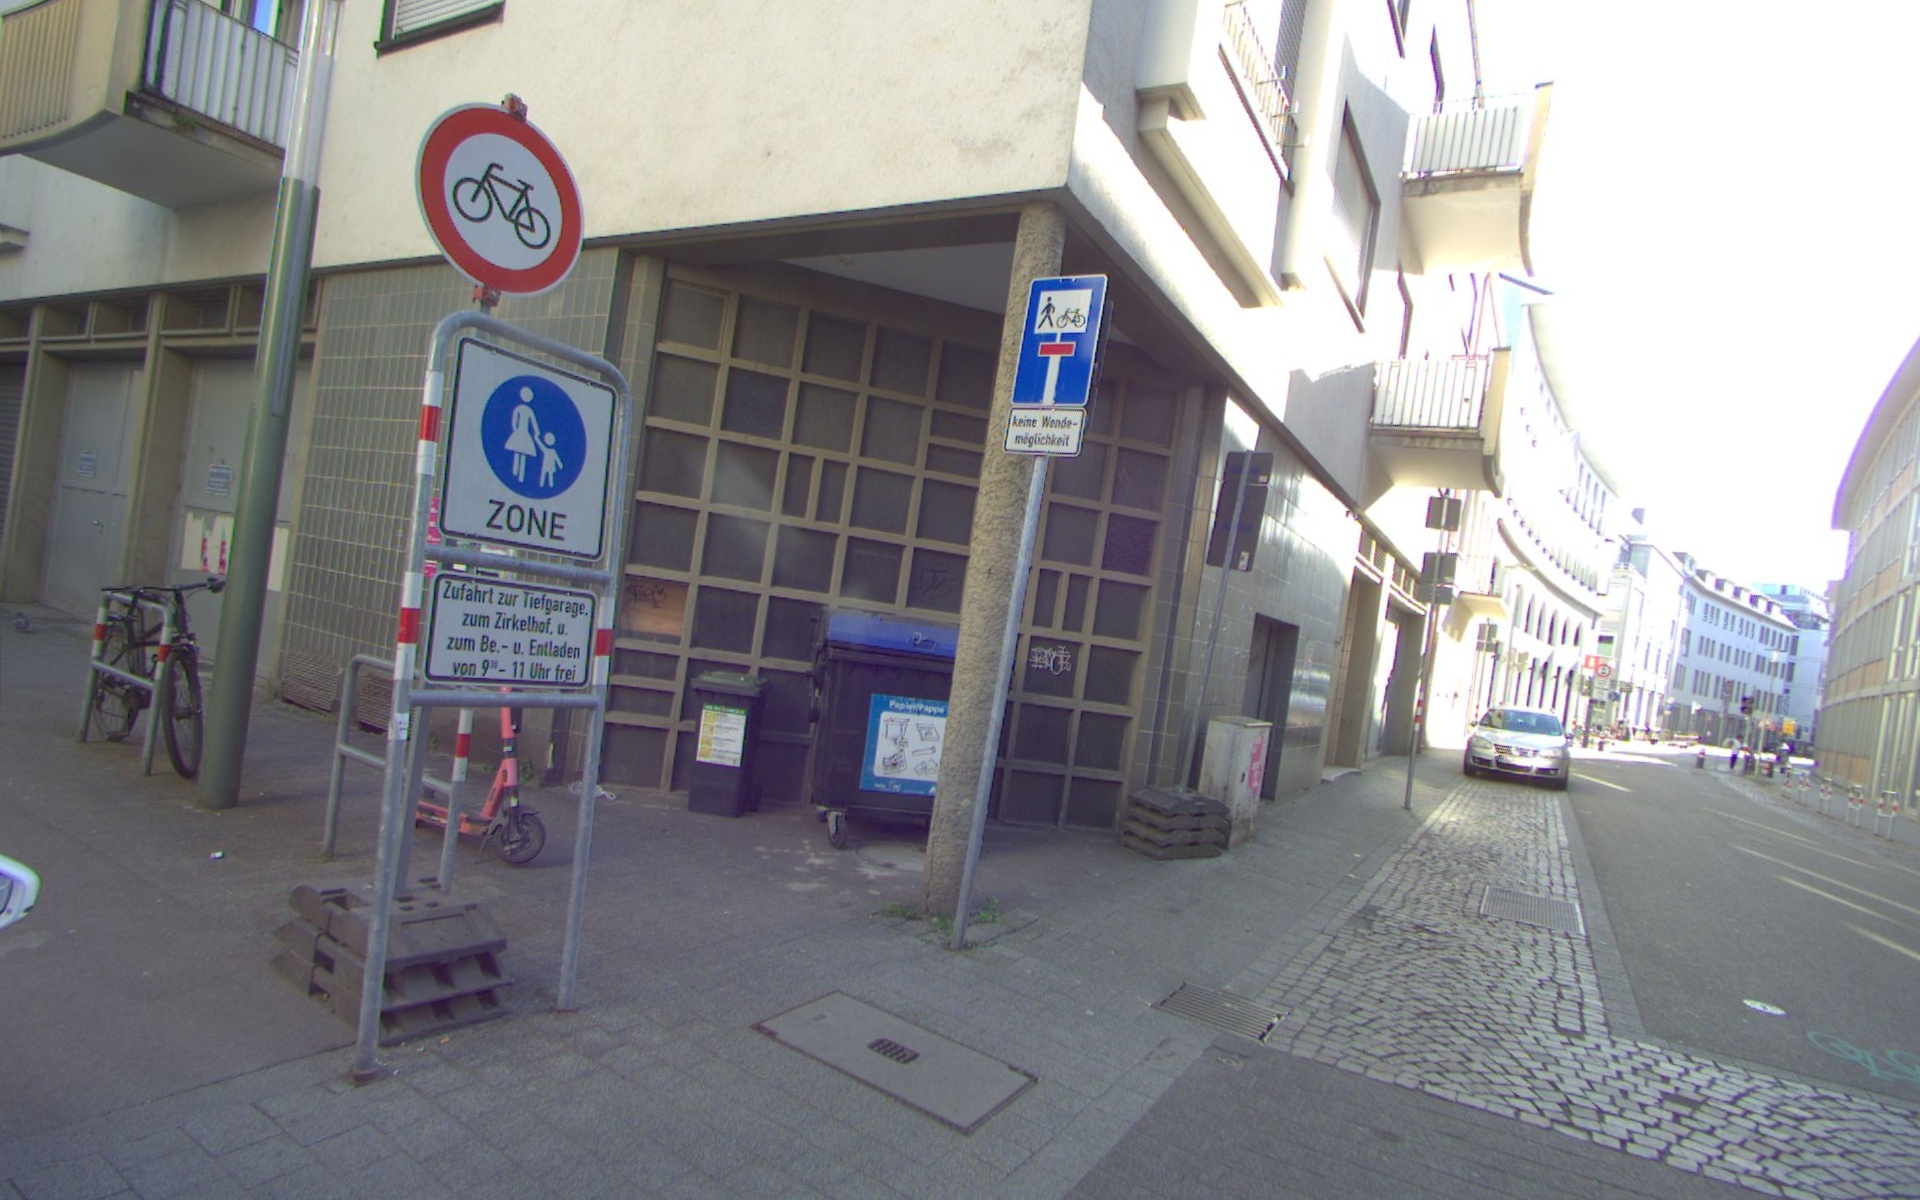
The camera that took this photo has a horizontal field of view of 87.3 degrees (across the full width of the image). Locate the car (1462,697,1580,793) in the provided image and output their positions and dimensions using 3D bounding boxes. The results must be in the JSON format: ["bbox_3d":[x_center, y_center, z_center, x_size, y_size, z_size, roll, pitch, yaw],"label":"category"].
[{"bbox_3d":[11.148,2.780,19.927,1.742,1.487,3.807,6,-2,31],"label":"car"}]

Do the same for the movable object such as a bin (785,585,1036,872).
[{"bbox_3d":[-0.380,0.802,6.710,1.271,1.609,1.151,8,1,-14],"label":"movable object such as a bin"}]

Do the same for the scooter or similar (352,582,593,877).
[{"bbox_3d":[-2.505,0.615,5.131,1.217,1.267,0.308,7,0,28],"label":"scooter or similar"}]

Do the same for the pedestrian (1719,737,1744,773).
[{"bbox_3d":[33.950,6.816,44.262,0.649,1.458,0.594,8,0,33],"label":"pedestrian"}]

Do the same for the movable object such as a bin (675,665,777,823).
[{"bbox_3d":[-1.577,0.954,6.751,0.533,0.935,0.511,7,0,-16],"label":"movable object such as a bin"}]

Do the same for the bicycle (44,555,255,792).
[{"bbox_3d":[-4.812,0.382,5.933,1.683,1.153,0.447,6,-1,36],"label":"bicycle"}]
